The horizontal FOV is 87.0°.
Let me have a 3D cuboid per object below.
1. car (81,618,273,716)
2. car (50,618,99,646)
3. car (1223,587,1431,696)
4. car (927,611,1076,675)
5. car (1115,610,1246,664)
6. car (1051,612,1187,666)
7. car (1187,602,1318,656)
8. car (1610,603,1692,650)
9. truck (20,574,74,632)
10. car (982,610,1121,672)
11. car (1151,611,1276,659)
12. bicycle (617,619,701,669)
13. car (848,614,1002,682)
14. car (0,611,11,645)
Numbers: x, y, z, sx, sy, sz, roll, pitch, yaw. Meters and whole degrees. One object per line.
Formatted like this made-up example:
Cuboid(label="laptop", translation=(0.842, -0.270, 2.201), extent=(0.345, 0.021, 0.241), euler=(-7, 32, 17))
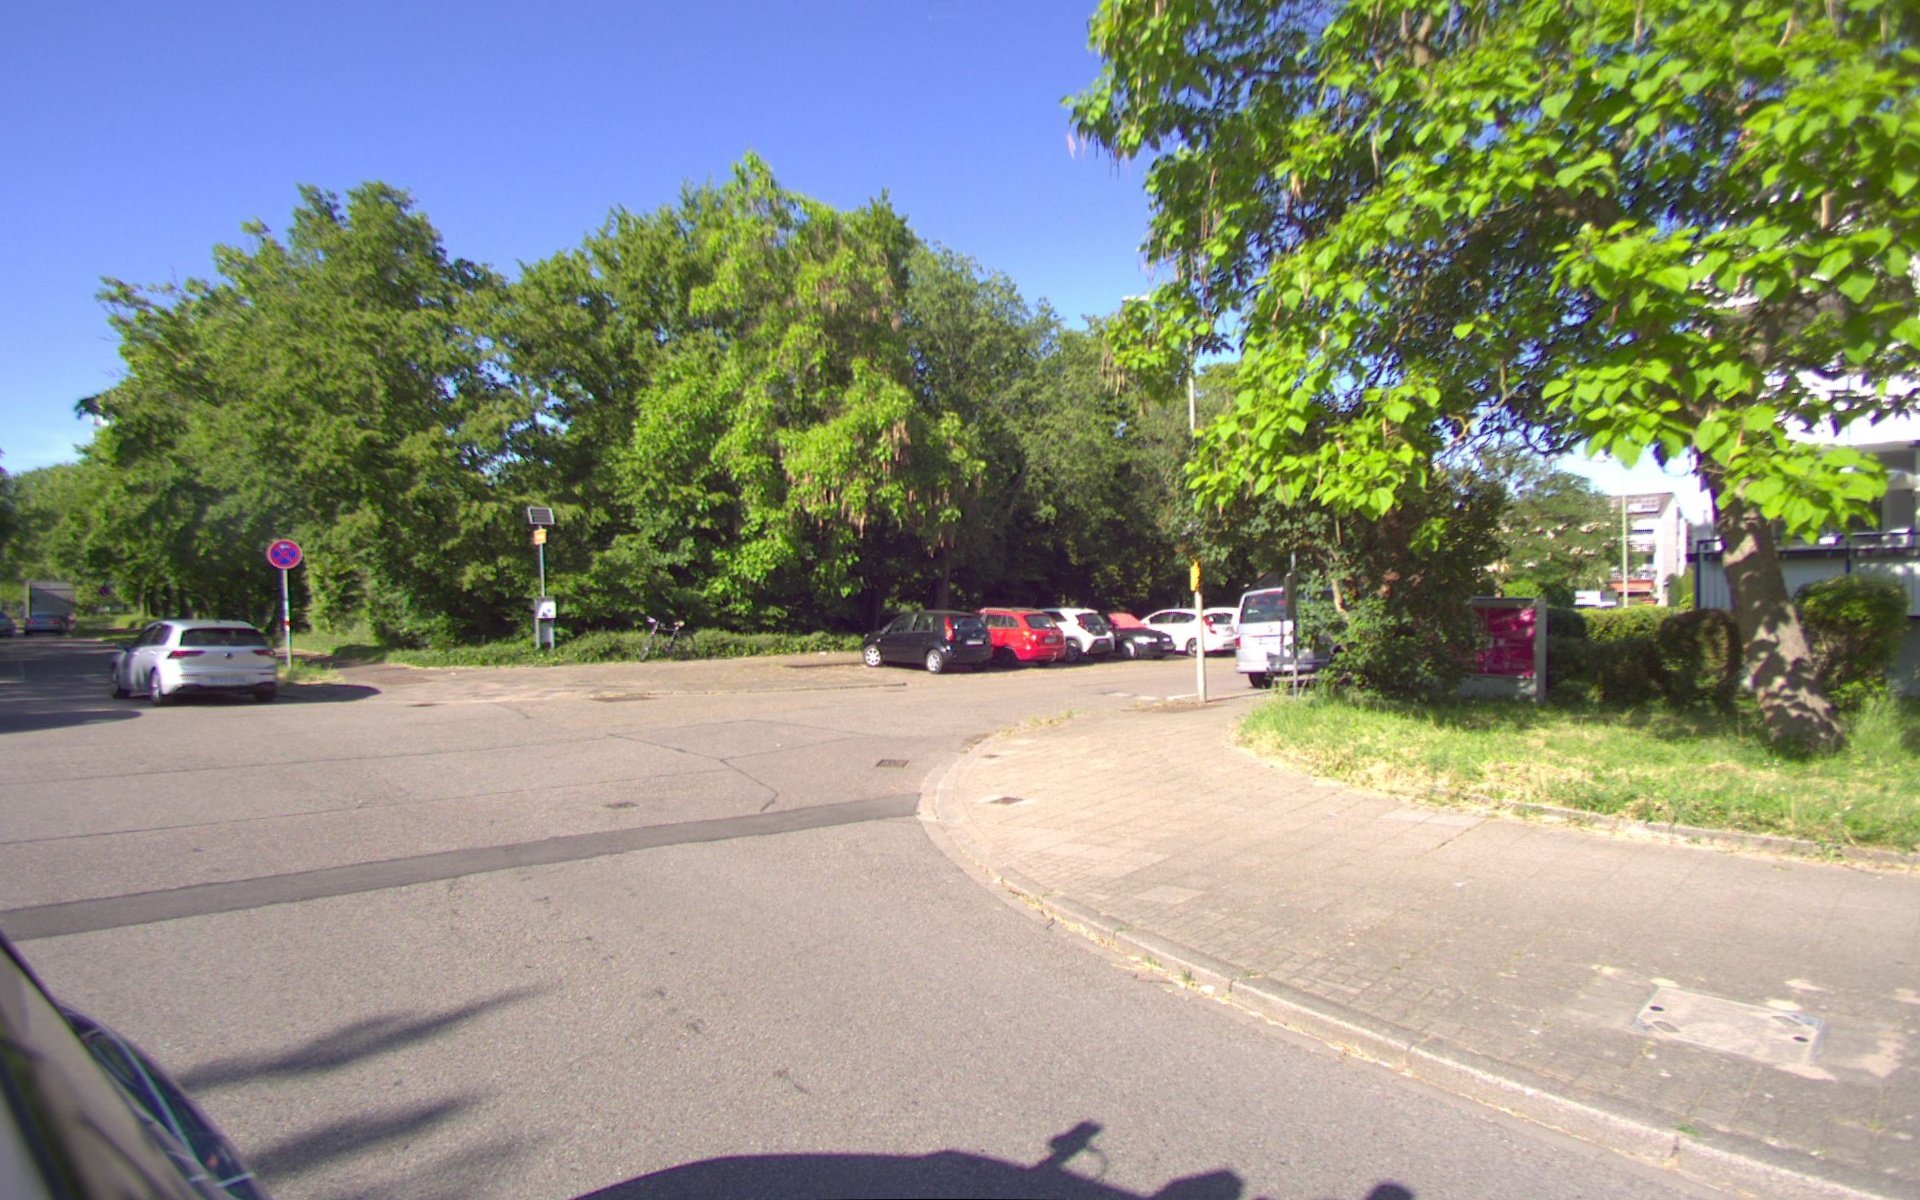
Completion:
Cuboid(label="car", translation=(-14.005, 1.112, 18.029), extent=(4.182, 1.478, 1.646), euler=(1, -1, 37))
Cuboid(label="car", translation=(-52.828, 1.860, 60.334), extent=(1.970, 1.597, 4.003), euler=(0, -1, -44))
Cuboid(label="car", translation=(7.524, 0.811, 20.572), extent=(4.396, 1.984, 2.072), euler=(1, -3, -41))
Cuboid(label="car", translation=(1.046, 1.092, 27.012), extent=(1.650, 1.498, 3.888), euler=(0, 0, -44))
Cuboid(label="car", translation=(7.085, 1.136, 32.758), extent=(1.650, 1.569, 3.888), euler=(0, 0, -44))
Cuboid(label="car", translation=(4.808, 1.140, 30.977), extent=(1.650, 1.498, 3.888), euler=(0, 0, -44))
Cuboid(label="car", translation=(10.687, 1.017, 37.202), extent=(1.650, 1.821, 4.359), euler=(0, 0, -44))
Cuboid(label="car", translation=(28.046, 1.038, 41.024), extent=(3.941, 1.796, 2.001), euler=(0, -1, -45))
Cuboid(label="truck", translation=(-68.549, 0.231, 75.900), extent=(2.763, 4.049, 9.636), euler=(2, -1, -43))
Cuboid(label="car", translation=(2.614, 1.126, 29.408), extent=(1.650, 1.615, 3.888), euler=(0, 0, -44))
Cuboid(label="car", translation=(8.614, 1.152, 34.611), extent=(1.650, 1.498, 3.888), euler=(0, 0, -44))
Cuboid(label="bicycle", translation=(-7.523, 1.081, 25.323), extent=(1.873, 1.161, 0.762), euler=(0, 2, -34))
Cuboid(label="car", translation=(-0.941, 1.131, 25.239), extent=(1.650, 1.498, 3.888), euler=(0, 0, -44))
Cuboid(label="car", translation=(-52.818, 1.514, 54.941), extent=(1.819, 1.819, 4.032), euler=(0, 0, -44))
